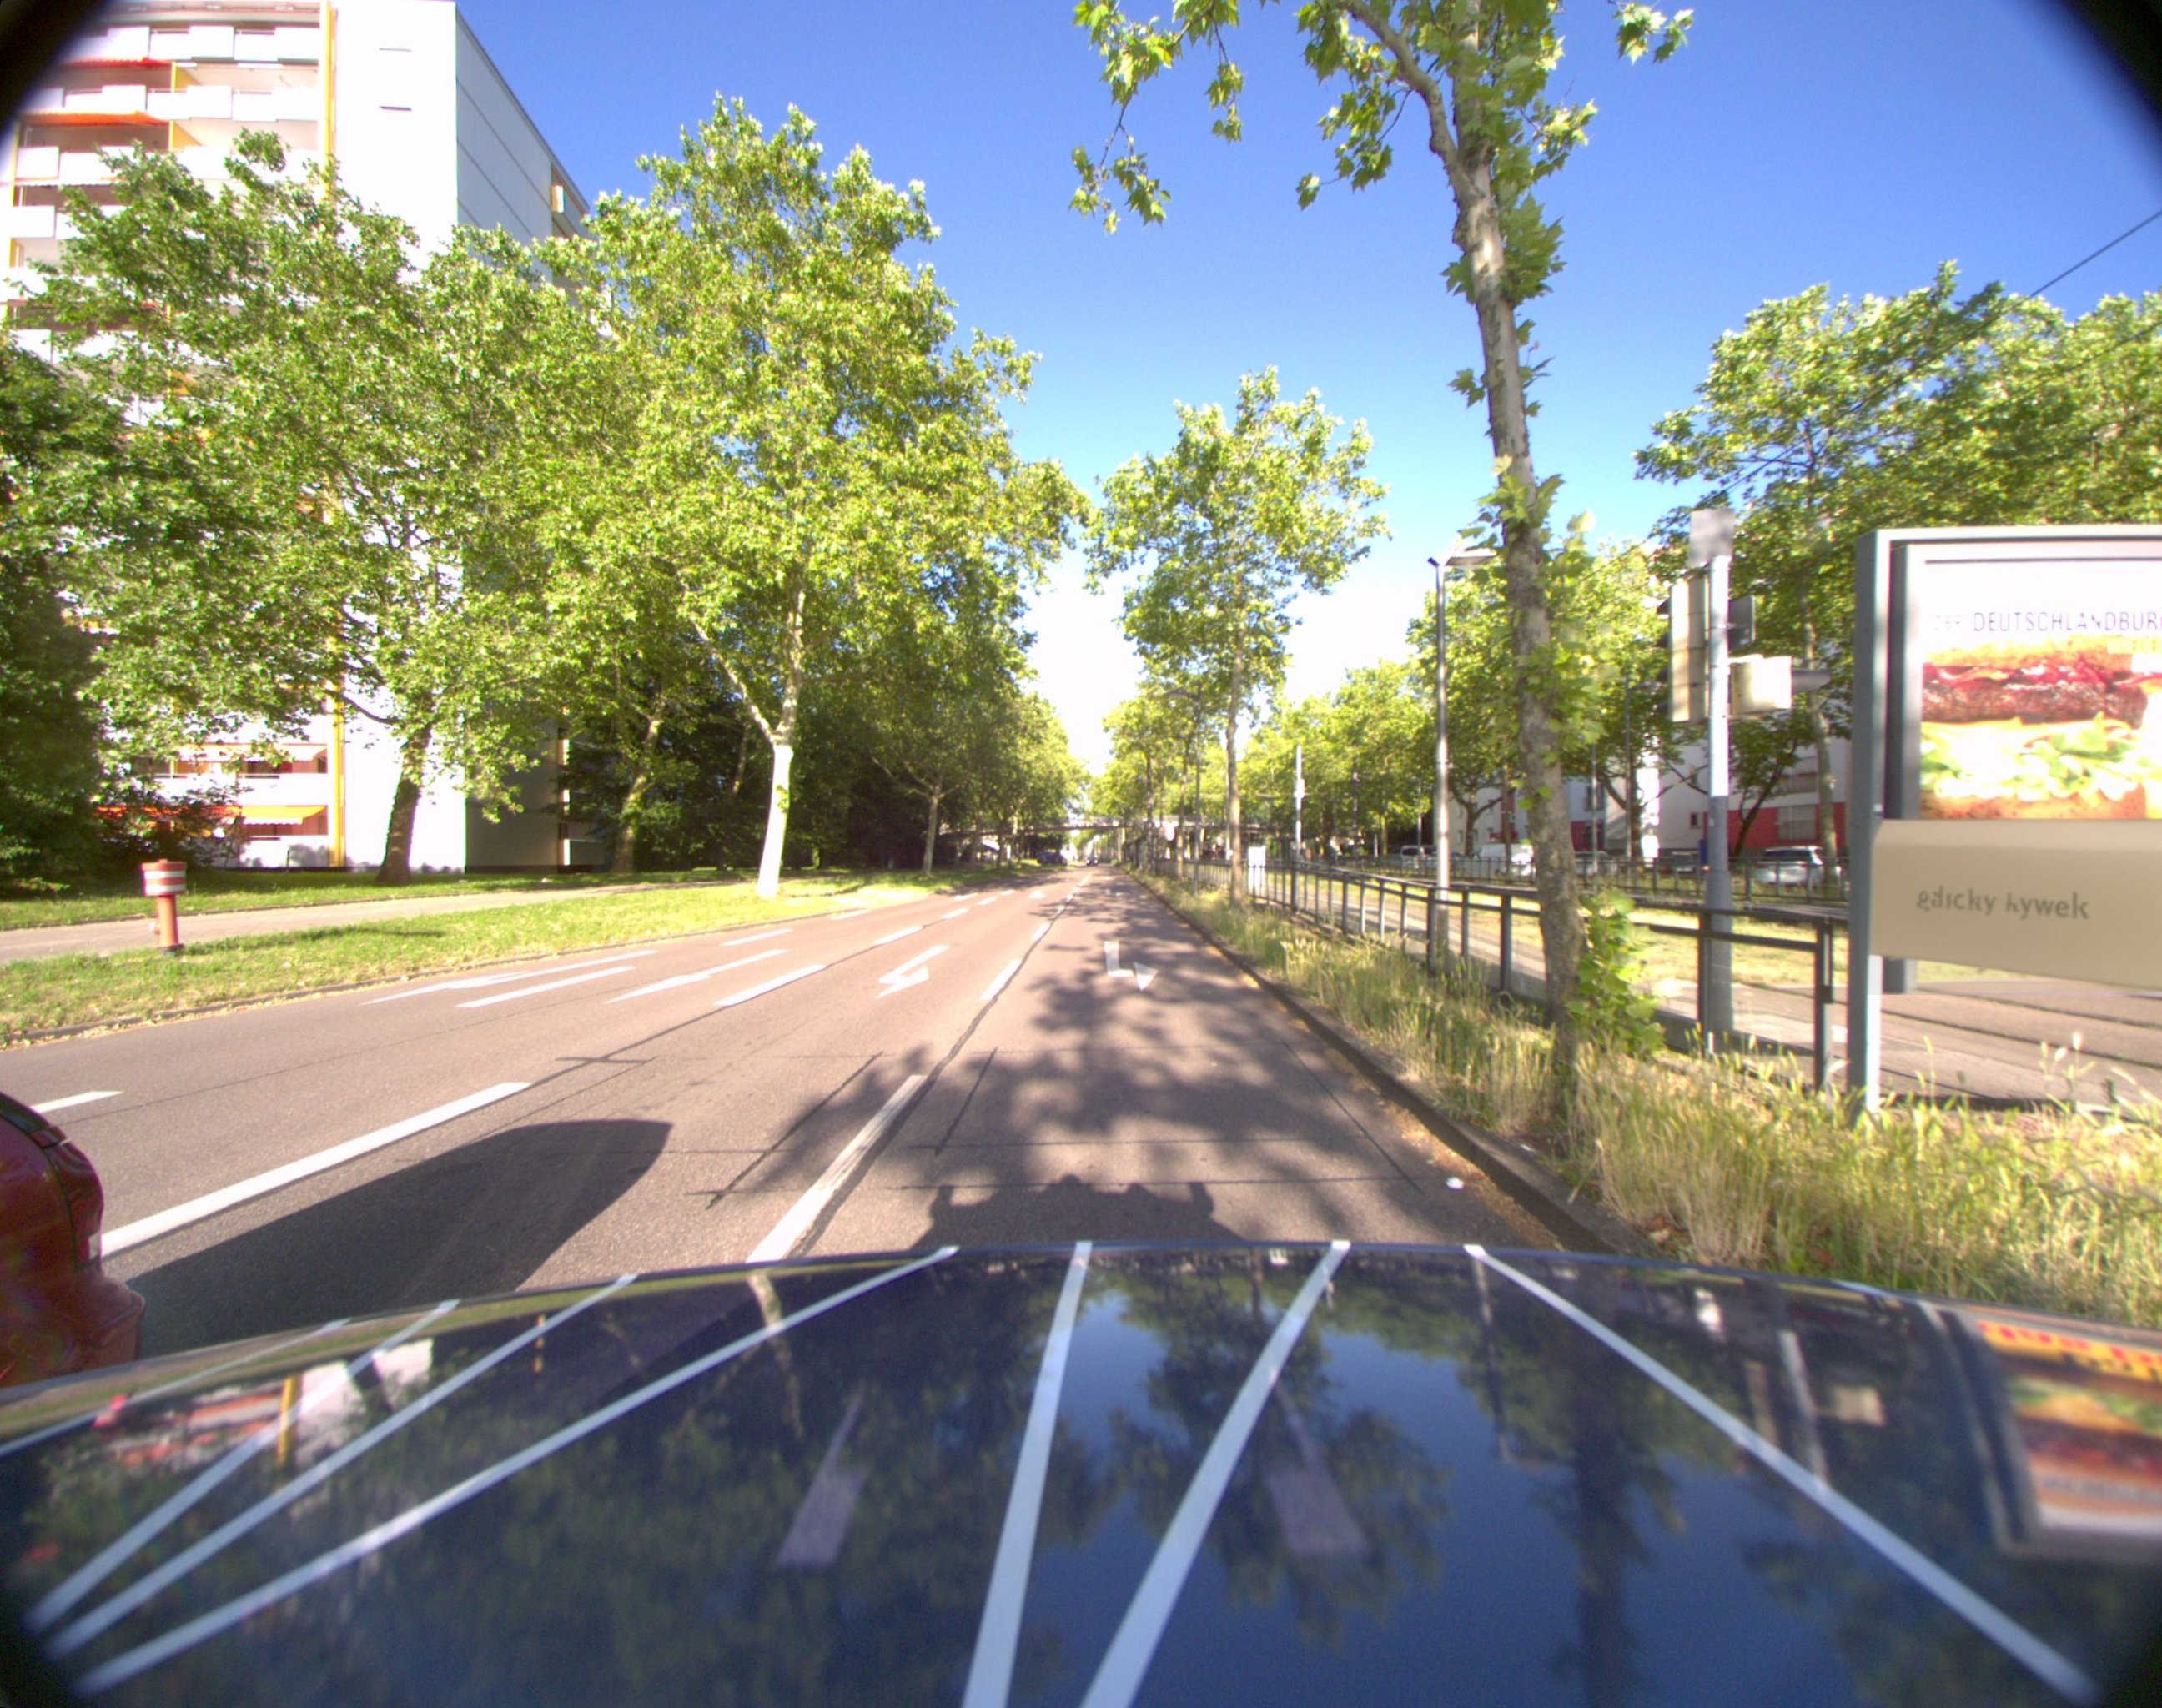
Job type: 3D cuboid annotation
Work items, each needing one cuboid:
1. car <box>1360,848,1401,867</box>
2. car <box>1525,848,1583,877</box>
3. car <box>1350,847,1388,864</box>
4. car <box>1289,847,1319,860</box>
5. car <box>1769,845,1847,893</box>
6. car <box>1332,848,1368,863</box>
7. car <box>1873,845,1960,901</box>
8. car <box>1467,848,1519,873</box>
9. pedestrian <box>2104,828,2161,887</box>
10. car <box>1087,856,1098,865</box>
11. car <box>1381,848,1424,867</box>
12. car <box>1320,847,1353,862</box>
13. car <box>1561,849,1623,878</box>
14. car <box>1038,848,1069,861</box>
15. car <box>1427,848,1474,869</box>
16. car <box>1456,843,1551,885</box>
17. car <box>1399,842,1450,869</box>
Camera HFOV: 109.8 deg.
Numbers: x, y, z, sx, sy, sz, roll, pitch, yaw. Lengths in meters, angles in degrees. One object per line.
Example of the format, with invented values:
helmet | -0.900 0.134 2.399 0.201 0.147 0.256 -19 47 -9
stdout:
car | 24.944 0.275 63.207 3.811 1.433 1.652 -2 0 -42
car | 25.864 0.445 41.476 3.811 1.433 1.652 -2 0 -42
car | 26.620 0.139 70.131 3.811 1.433 1.652 -2 0 -42
car | 26.440 -0.043 89.972 3.811 1.433 1.652 -2 0 -42
car | 25.359 0.491 26.473 3.811 1.501 1.652 -2 0 -42
car | 26.067 0.137 73.562 3.811 1.433 1.652 -2 0 -42
car | 25.245 0.525 22.964 3.811 1.501 1.652 -2 0 -42
car | 25.852 0.400 47.676 3.811 1.433 1.652 -2 0 -42
pedestrian | 31.812 0.107 22.953 0.764 1.723 0.786 -2 1 -1
car | 1.688 0.951 114.298 1.580 1.395 3.638 -2 0 0
car | 25.731 0.272 60.750 3.811 1.433 1.652 -2 0 -42
car | 26.787 0.049 79.623 3.811 1.433 1.652 -2 0 -42
car | 25.384 0.450 37.695 3.811 1.348 1.652 -2 0 -42
car | -4.249 0.048 118.817 4.716 1.924 1.908 -2 0 1
car | 26.303 0.313 54.030 3.811 1.433 1.652 -2 0 -42
car | 19.943 0.439 36.127 1.831 1.811 4.902 -2 0 1
car | 25.819 0.092 57.027 4.330 1.863 1.836 -2 0 -42
